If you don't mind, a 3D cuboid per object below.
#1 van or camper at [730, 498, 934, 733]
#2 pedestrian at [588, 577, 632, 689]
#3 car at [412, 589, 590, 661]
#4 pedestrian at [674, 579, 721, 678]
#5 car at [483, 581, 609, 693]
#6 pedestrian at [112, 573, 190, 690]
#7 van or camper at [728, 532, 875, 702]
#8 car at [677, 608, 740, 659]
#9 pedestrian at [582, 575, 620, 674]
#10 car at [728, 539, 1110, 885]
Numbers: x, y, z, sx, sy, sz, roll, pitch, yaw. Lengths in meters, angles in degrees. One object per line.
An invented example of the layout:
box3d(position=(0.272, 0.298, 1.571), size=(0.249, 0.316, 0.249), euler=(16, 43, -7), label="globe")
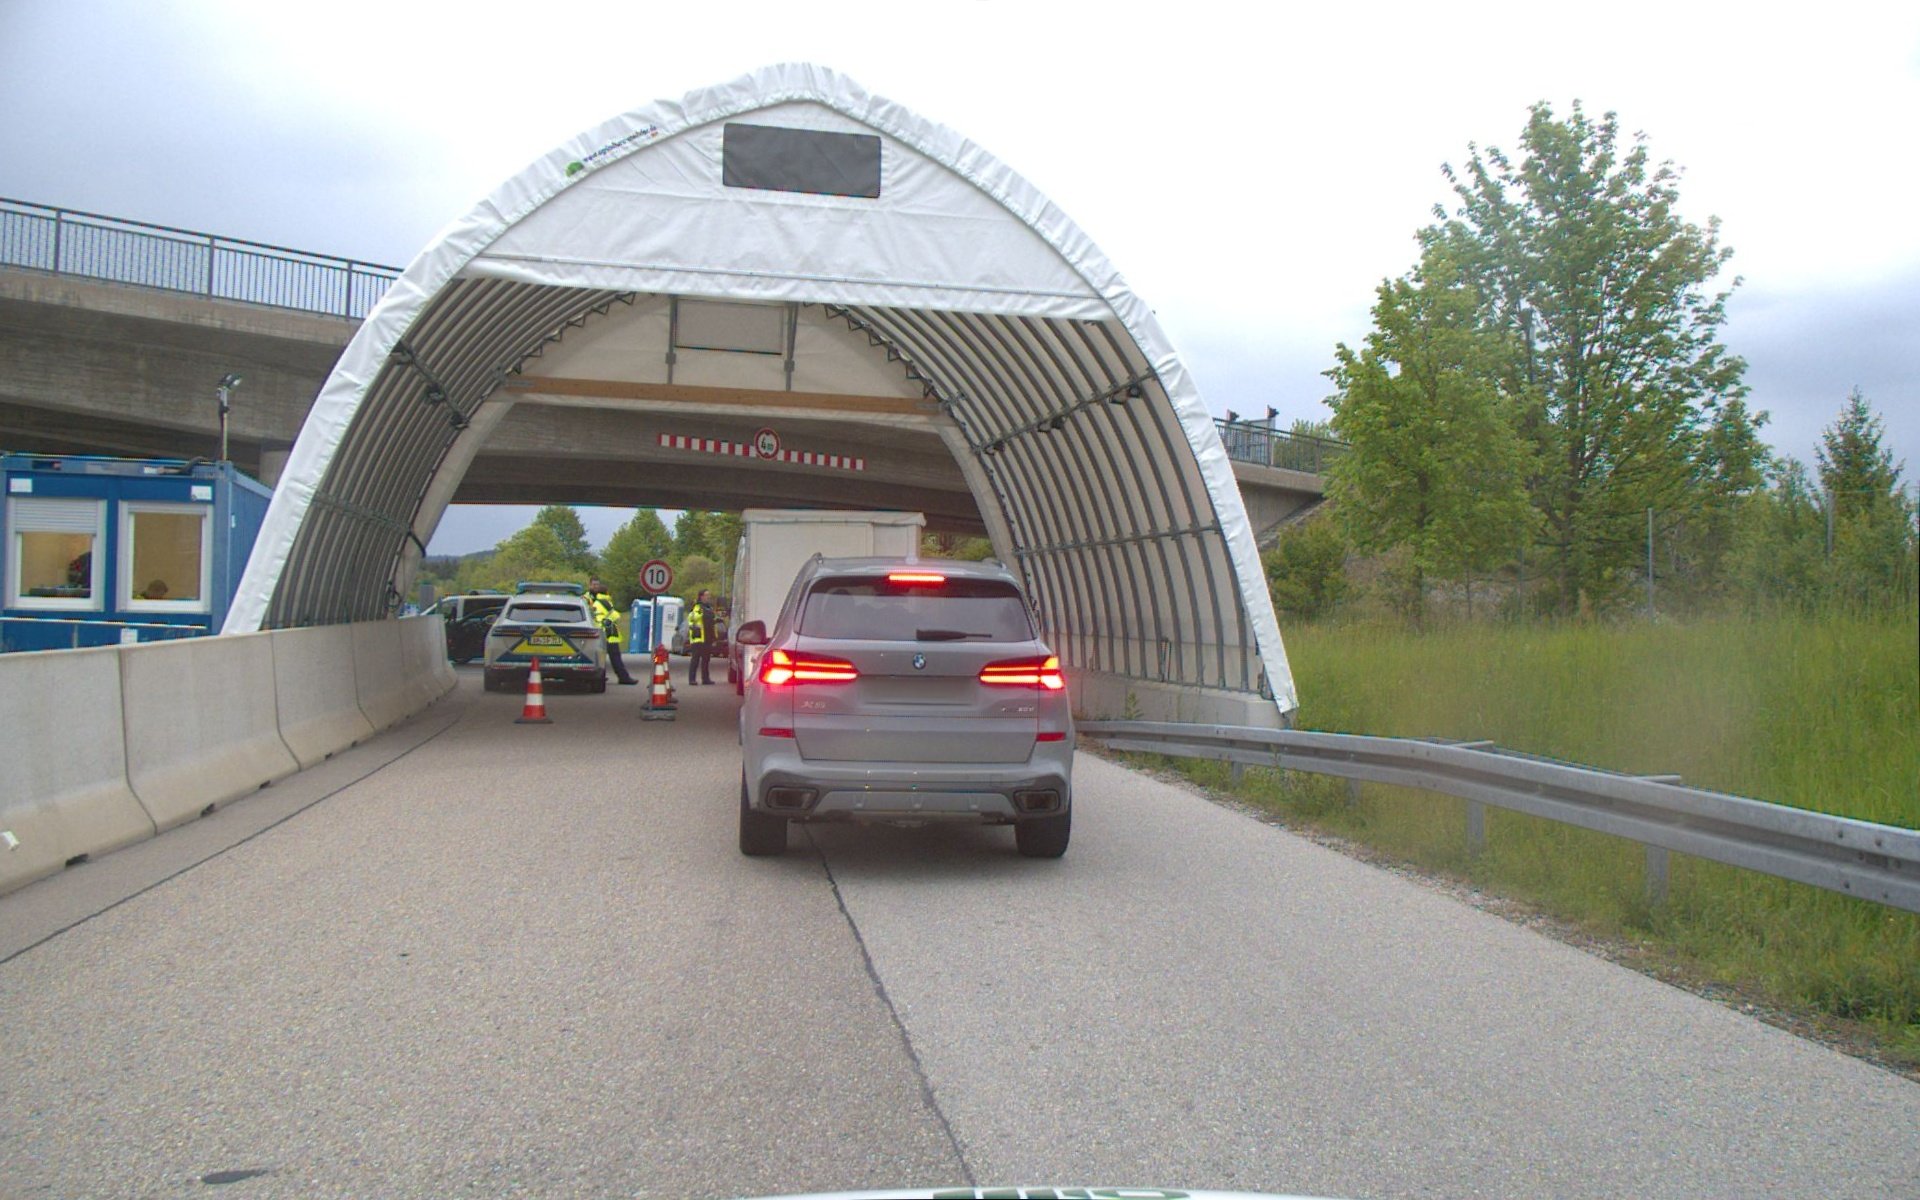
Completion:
box3d(position=(-1.870, 0.189, 21.763), size=(2.189, 2.597, 6.597), euler=(0, 0, -9), label="van or camper")
box3d(position=(-6.189, 0.570, 29.223), size=(0.736, 1.952, 0.760), euler=(0, -1, -15), label="pedestrian")
box3d(position=(-13.595, 0.727, 49.117), size=(4.703, 2.049, 1.842), euler=(0, -1, 7), label="car")
box3d(position=(-4.710, 0.508, 29.651), size=(0.742, 1.752, 0.778), euler=(0, -1, -18), label="pedestrian")
box3d(position=(-6.773, 0.570, 27.029), size=(1.846, 1.675, 3.984), euler=(0, 0, -15), label="car")
box3d(position=(-9.864, 0.378, 20.179), size=(0.597, 1.397, 0.628), euler=(0, -1, 8), label="pedestrian")
box3d(position=(-2.779, 0.280, 27.824), size=(2.065, 2.563, 5.538), euler=(0, 0, -10), label="van or camper")
box3d(position=(-8.950, 1.153, 58.636), size=(1.959, 1.752, 3.883), euler=(0, 0, -13), label="car")
box3d(position=(-6.565, 0.440, 30.283), size=(0.597, 1.784, 0.665), euler=(0, -1, -6), label="pedestrian")
box3d(position=(-0.476, 0.591, 10.716), size=(1.957, 1.796, 3.991), euler=(0, 0, -9), label="car")
